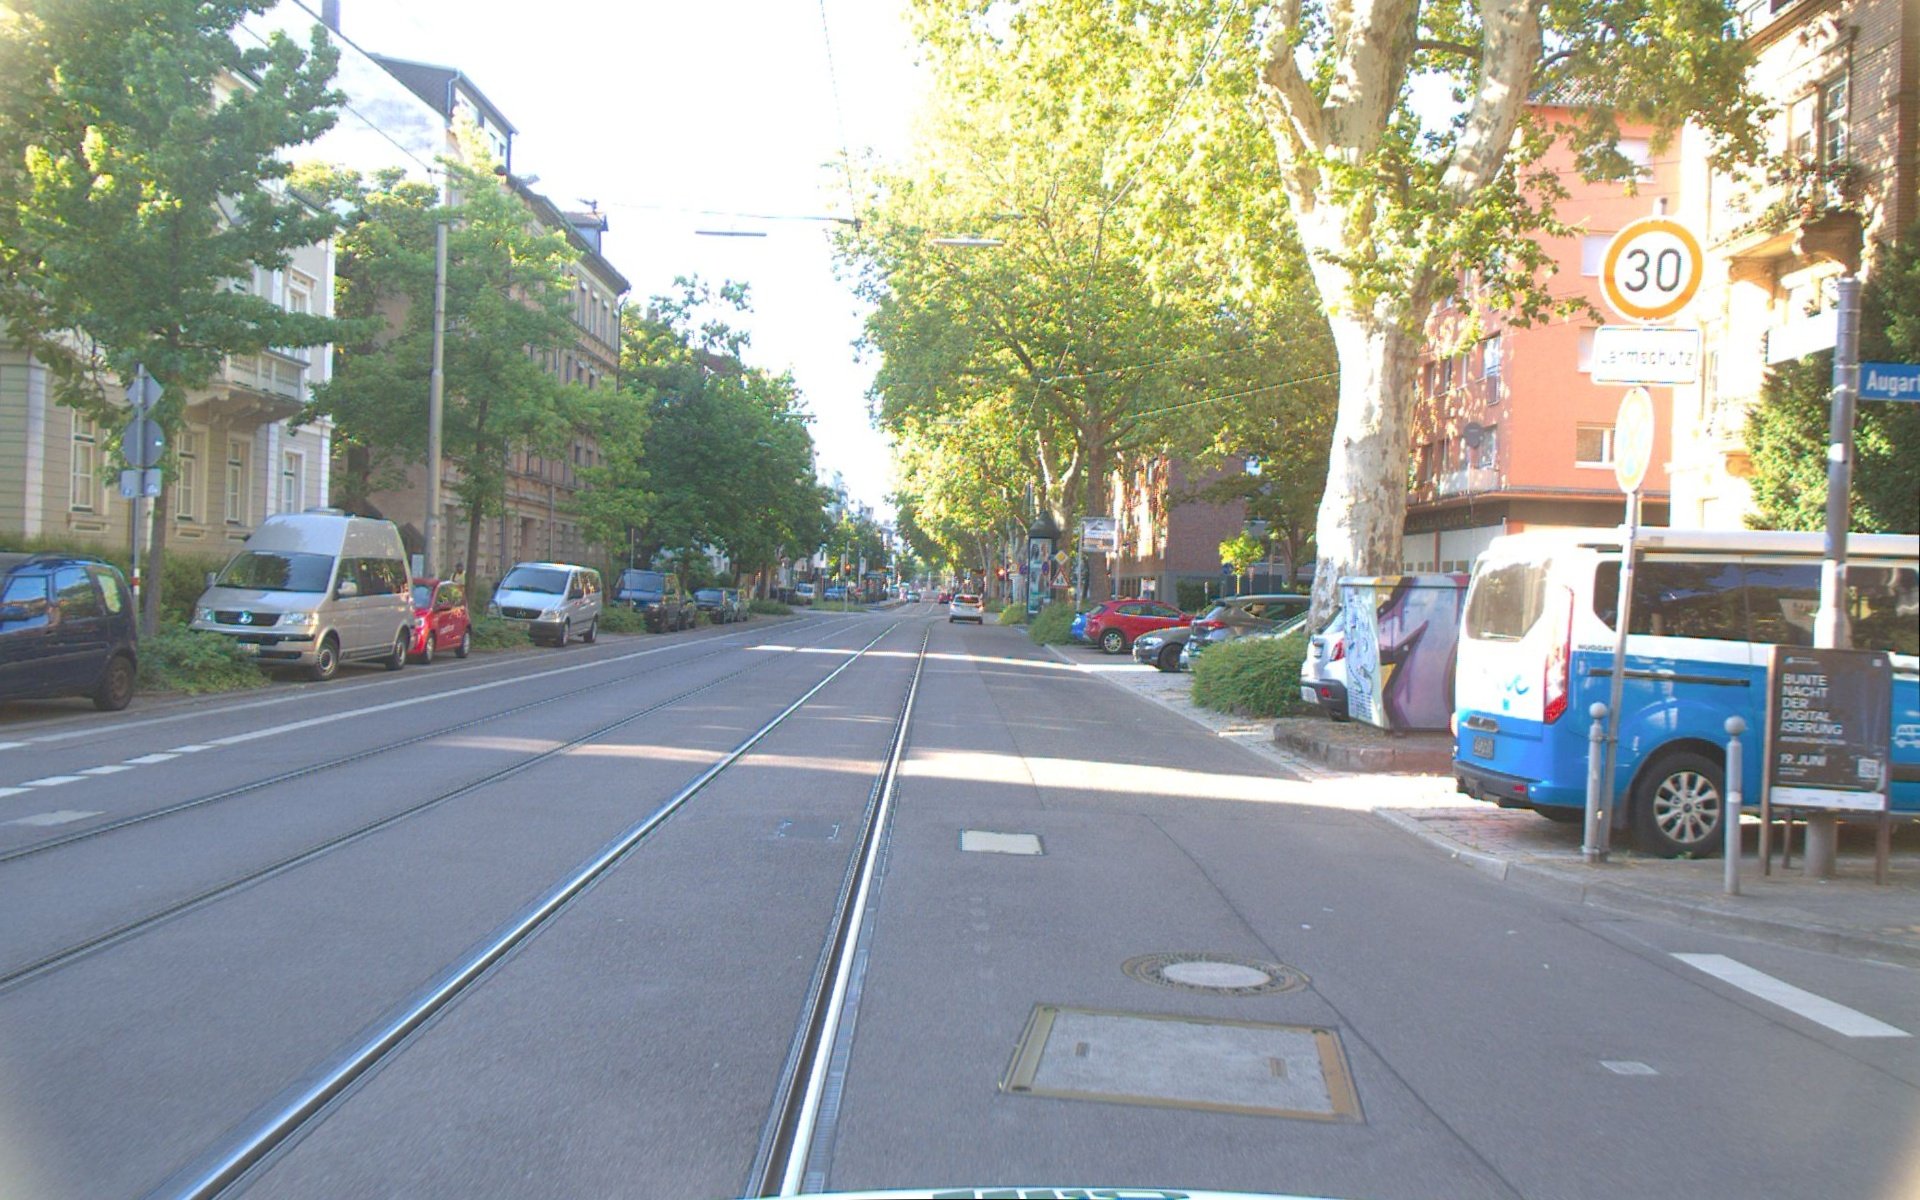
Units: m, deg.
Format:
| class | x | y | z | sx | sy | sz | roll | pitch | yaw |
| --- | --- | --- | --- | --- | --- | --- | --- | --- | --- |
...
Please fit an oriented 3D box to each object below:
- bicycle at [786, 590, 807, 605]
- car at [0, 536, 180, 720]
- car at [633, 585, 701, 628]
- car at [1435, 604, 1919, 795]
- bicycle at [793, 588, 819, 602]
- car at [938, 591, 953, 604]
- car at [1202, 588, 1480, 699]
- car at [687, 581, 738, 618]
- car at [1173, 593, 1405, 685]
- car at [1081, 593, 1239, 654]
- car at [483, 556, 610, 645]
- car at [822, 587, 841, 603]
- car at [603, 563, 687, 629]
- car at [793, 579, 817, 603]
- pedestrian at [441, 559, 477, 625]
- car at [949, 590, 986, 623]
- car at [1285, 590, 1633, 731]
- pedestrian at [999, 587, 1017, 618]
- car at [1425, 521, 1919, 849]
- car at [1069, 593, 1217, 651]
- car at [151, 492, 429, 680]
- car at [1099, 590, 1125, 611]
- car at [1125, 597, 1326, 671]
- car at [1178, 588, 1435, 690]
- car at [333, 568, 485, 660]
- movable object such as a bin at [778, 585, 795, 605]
| class | x | y | z | sx | sy | sz | roll | pitch | yaw |
| --- | --- | --- | --- | --- | --- | --- | --- | --- | --- |
| bicycle | -12.800 | -0.203 | 129.584 | 1.503 | 1.093 | 0.885 | 5 | 0 | -2 |
| car | -9.924 | 0.228 | 16.702 | 1.951 | 1.719 | 4.262 | 2 | 0 | 2 |
| car | -10.592 | 0.209 | 60.110 | 1.816 | 1.484 | 4.268 | 1 | 0 | -2 |
| car | 6.227 | 0.808 | 14.290 | 3.706 | 1.514 | 1.789 | 0 | 0 | -3 |
| bicycle | -13.790 | -0.436 | 148.272 | 2.207 | 1.092 | 0.636 | 5 | 0 | 0 |
| car | -1.794 | -0.350 | 199.727 | 1.752 | 1.539 | 3.999 | 2 | 0 | -1 |
| car | 6.128 | 0.678 | 26.973 | 4.113 | 1.647 | 1.818 | 2 | 0 | 1 |
| car | -10.520 | -0.036 | 70.448 | 1.625 | 1.470 | 3.948 | 2 | 0 | -1 |
| car | 6.289 | 0.732 | 31.933 | 4.113 | 1.601 | 1.818 | 2 | 0 | 1 |
| car | 5.699 | 0.659 | 47.519 | 4.312 | 1.569 | 1.952 | 2 | 0 | 1 |
| car | -10.077 | -0.007 | 40.688 | 1.806 | 2.023 | 4.988 | 2 | 0 | 0 |
| car | -13.444 | -0.563 | 173.123 | 1.561 | 1.575 | 3.999 | 4 | 0 | -1 |
| car | -10.410 | -0.136 | 54.943 | 1.953 | 2.049 | 4.833 | 1 | 0 | -2 |
| car | -13.202 | -0.752 | 140.903 | 1.654 | 1.974 | 3.999 | 1 | 0 | -1 |
| pedestrian | -13.230 | -0.215 | 43.695 | 0.592 | 1.691 | 0.947 | 3 | 0 | 0 |
| car | 0.347 | 0.313 | 83.632 | 1.752 | 1.539 | 3.999 | 2 | 0 | -1 |
| car | 6.035 | 0.703 | 20.283 | 3.706 | 1.647 | 1.789 | 0 | 0 | -3 |
| pedestrian | 3.071 | 0.159 | 105.693 | 0.963 | 1.896 | 1.015 | -2 | 0 | -6 |
| car | 5.961 | 0.522 | 11.607 | 4.750 | 2.049 | 2.192 | 0 | 0 | -4 |
| car | 5.487 | 0.647 | 49.799 | 4.310 | 1.569 | 1.819 | 2 | 0 | 6 |
| car | -10.154 | -0.215 | 25.637 | 2.258 | 2.552 | 5.341 | 1 | 0 | -2 |
| car | 11.906 | 0.020 | 129.367 | 1.568 | 1.521 | 3.415 | 2 | 0 | -2 |
| car | 5.840 | 0.735 | 36.698 | 4.115 | 1.473 | 1.817 | 2 | 0 | -1 |
| car | 6.121 | 0.672 | 29.531 | 4.117 | 1.647 | 1.877 | 2 | 0 | -4 |
| car | -10.236 | 0.237 | 30.998 | 1.651 | 1.566 | 3.707 | 2 | 0 | -1 |
| movable object such as a bin | -13.399 | -0.392 | 127.501 | 1.147 | 1.371 | 0.782 | 5 | 0 | -5 |
